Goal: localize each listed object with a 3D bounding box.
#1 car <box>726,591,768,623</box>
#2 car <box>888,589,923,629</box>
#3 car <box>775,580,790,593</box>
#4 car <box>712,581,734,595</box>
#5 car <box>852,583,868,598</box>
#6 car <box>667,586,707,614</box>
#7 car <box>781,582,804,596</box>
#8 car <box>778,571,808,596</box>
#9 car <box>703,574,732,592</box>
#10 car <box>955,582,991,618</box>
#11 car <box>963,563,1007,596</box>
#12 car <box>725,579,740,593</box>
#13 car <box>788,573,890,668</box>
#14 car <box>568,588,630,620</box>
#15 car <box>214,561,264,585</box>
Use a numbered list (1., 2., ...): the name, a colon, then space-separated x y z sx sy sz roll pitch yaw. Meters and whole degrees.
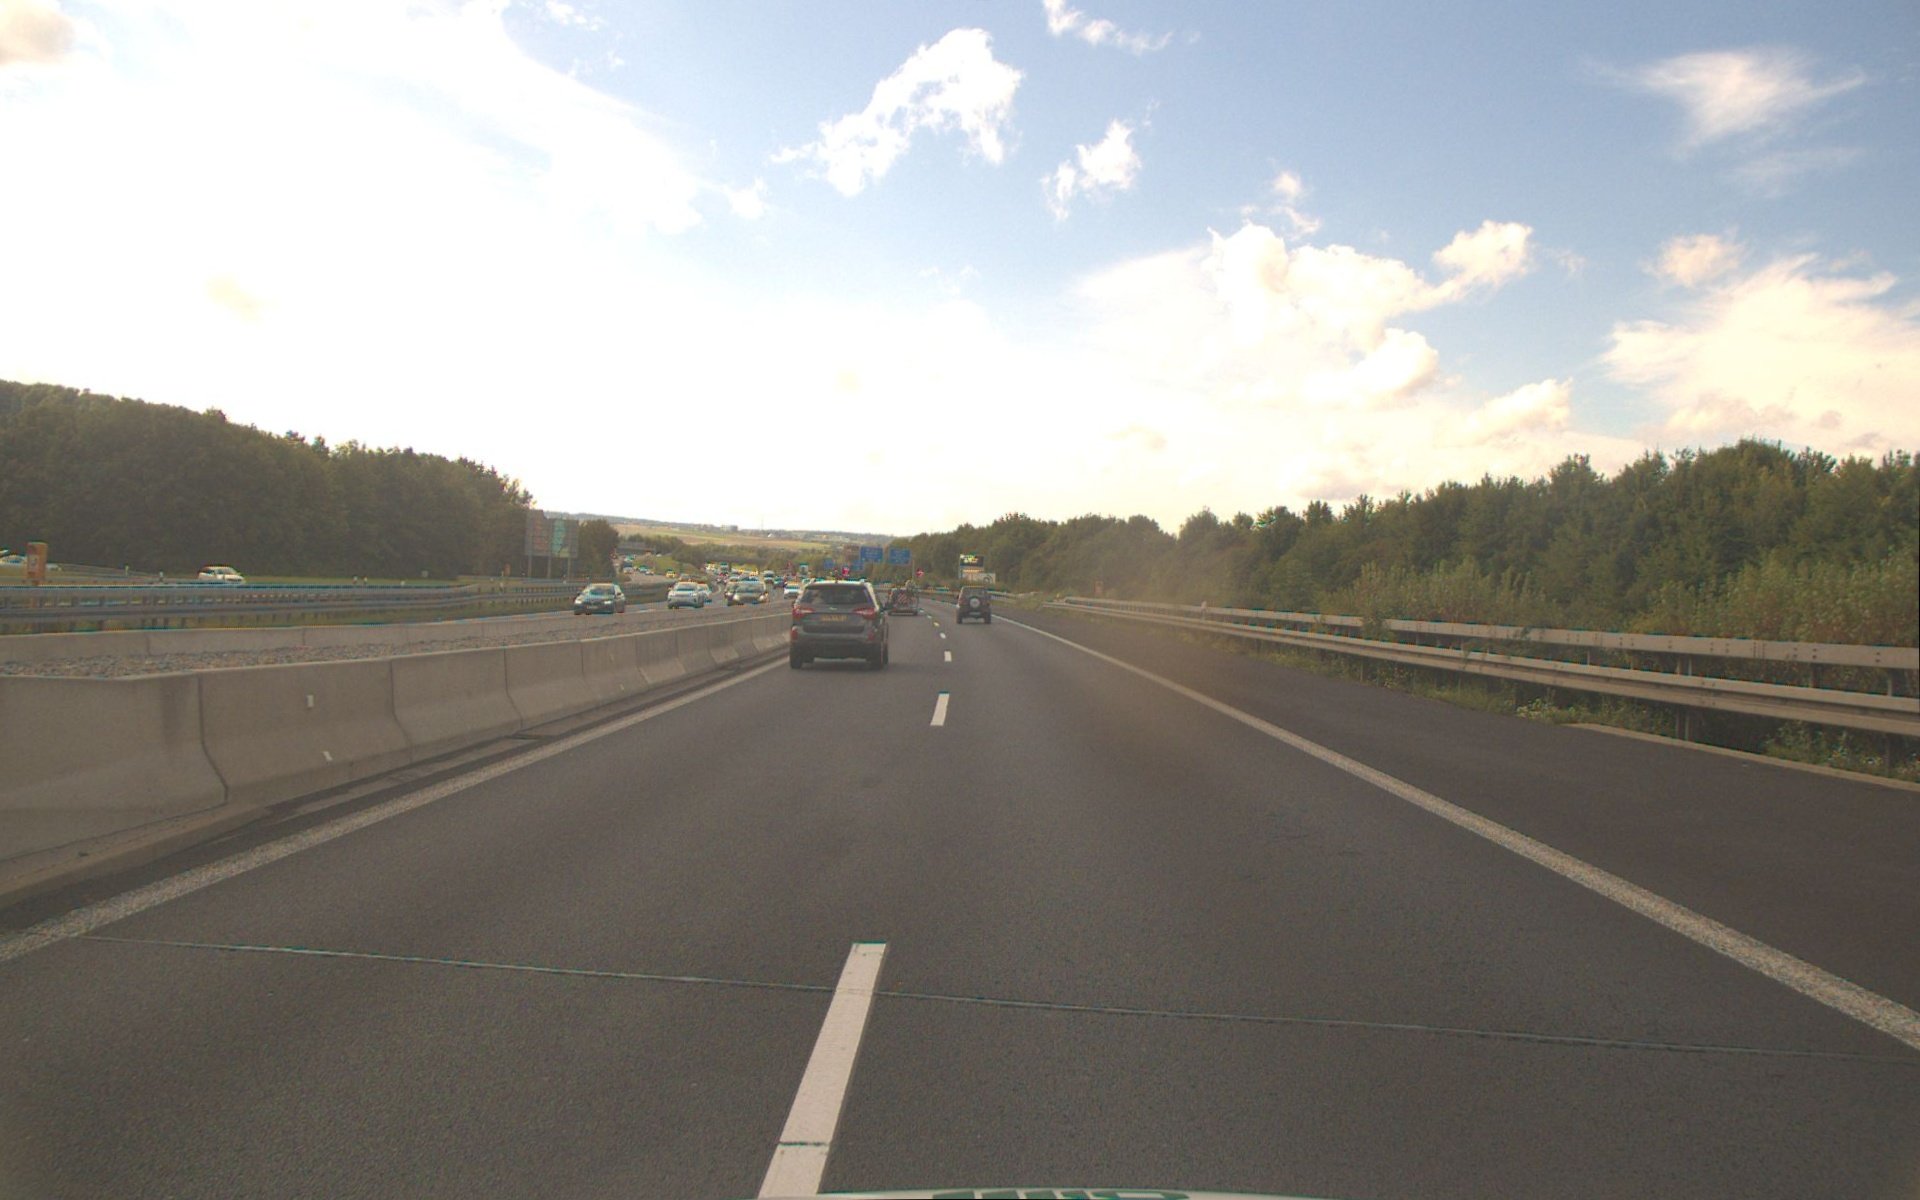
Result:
1. car: -12.122 0.368 94.394 1.848 1.733 4.965 1 0 -2
2. car: -3.181 0.503 96.745 1.989 2.189 3.999 1 0 -2
3. car: -27.368 -2.071 254.835 1.954 1.953 5.146 2 1 -3
4. car: -23.966 -1.182 167.397 1.831 1.361 4.227 1 0 -3
5. car: -12.121 -1.105 200.610 1.954 1.713 3.996 1 -1 -4
6. car: -16.684 -0.036 101.182 1.848 1.638 4.963 1 0 -3
7. car: -16.713 -1.094 165.169 2.005 1.361 5.605 1 0 -3
8. car: -12.272 -1.202 121.996 1.848 1.816 4.951 1 0 -2
9. car: -20.161 -1.415 137.501 1.848 1.454 4.576 1 0 -2
10. car: 0.602 -0.030 77.962 1.555 1.625 4.095 1 1 -1
11. car: 3.546 -2.852 237.611 4.639 4.341 11.384 1 -1 -7
12. car: -32.794 -2.022 238.506 1.955 1.846 4.237 1 1 -5
13. car: -2.402 0.404 33.901 1.781 1.766 5.185 1 0 -1
14. car: -16.817 0.171 77.241 1.953 1.427 4.811 1 0 -2
15. car: -47.072 -1.773 107.903 1.772 1.456 4.557 1 1 -40
